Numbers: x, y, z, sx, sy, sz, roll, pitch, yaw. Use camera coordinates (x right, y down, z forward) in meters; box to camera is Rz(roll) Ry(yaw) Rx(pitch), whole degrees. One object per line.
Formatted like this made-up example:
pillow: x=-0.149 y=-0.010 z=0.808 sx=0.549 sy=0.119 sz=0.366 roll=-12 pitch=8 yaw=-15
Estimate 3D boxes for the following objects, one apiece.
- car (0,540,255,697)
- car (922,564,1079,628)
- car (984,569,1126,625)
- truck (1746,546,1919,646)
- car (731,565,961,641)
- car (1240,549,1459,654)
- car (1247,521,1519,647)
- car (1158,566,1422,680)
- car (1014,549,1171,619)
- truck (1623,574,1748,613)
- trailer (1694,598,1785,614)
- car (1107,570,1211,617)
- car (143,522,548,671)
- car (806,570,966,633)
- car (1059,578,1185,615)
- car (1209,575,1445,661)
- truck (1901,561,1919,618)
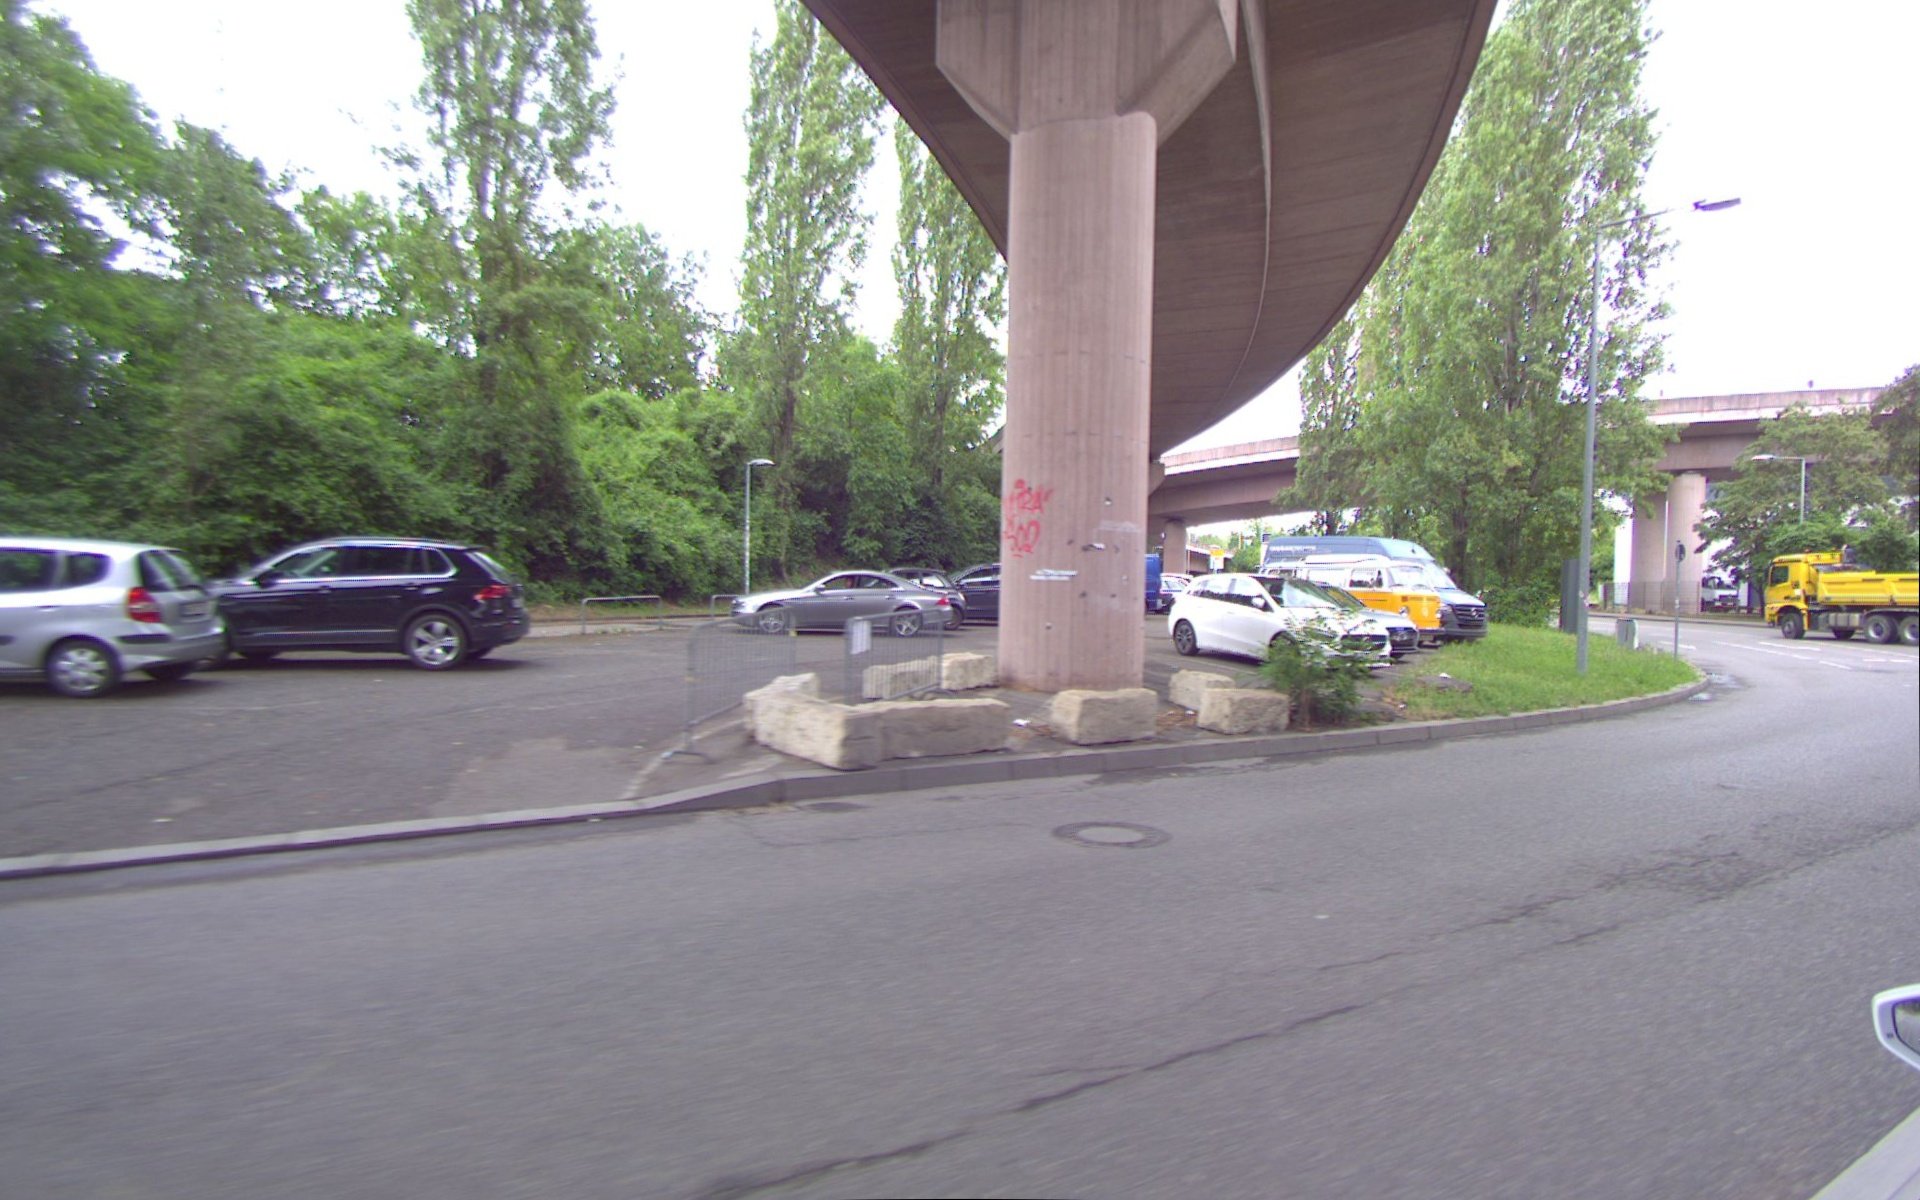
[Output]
car: x=-9.633 y=0.154 z=10.144 sx=3.682 sy=1.473 sz=1.788 roll=1 pitch=1 yaw=-13
car: x=1.077 y=-0.106 z=28.024 sx=4.080 sy=1.698 sz=1.897 roll=0 pitch=0 yaw=-11
car: x=2.952 y=-0.077 z=31.557 sx=4.082 sy=1.698 sz=1.897 roll=0 pitch=0 yaw=-13
truck: x=35.083 y=-0.228 z=38.618 sx=2.880 sy=3.528 sz=8.240 roll=-2 pitch=1 yaw=-3
car: x=-2.527 y=0.043 z=21.944 sx=4.804 sy=1.508 sz=1.858 roll=0 pitch=3 yaw=-13
car: x=8.678 y=-0.045 z=22.853 sx=1.827 sy=2.139 sz=4.537 roll=0 pitch=2 yaw=-28
car: x=10.359 y=-0.446 z=25.298 sx=2.339 sy=2.762 sz=6.147 roll=0 pitch=2 yaw=-29
car: x=5.537 y=0.290 z=17.512 sx=1.927 sy=1.628 sz=4.369 roll=0 pitch=3 yaw=-23
car: x=4.537 y=-0.510 z=34.626 sx=4.935 sy=2.285 sz=2.117 roll=0 pitch=0 yaw=-16
truck: x=51.206 y=-0.443 z=71.139 sx=2.678 sy=2.586 sz=7.212 roll=0 pitch=0 yaw=-13
trailer: x=48.910 y=0.348 z=63.241 sx=2.113 sy=0.753 sz=6.296 roll=-3 pitch=0 yaw=14
car: x=9.166 y=-0.304 z=46.387 sx=4.227 sy=1.824 sz=1.842 roll=-5 pitch=0 yaw=-13
car: x=-7.736 y=-0.028 z=13.093 sx=4.092 sy=1.714 sz=1.858 roll=1 pitch=1 yaw=-13
car: x=-1.835 y=0.041 z=24.794 sx=3.677 sy=1.460 sz=1.642 roll=0 pitch=0 yaw=-19
car: x=6.445 y=-0.117 z=40.080 sx=4.565 sy=1.454 sz=1.995 roll=0 pitch=-1 yaw=-13
car: x=7.138 y=0.268 z=20.017 sx=1.973 sy=1.390 sz=4.229 roll=0 pitch=3 yaw=-25
truck: x=63.390 y=-0.656 z=64.149 sx=3.011 sy=3.668 sz=7.897 roll=0 pitch=2 yaw=30
